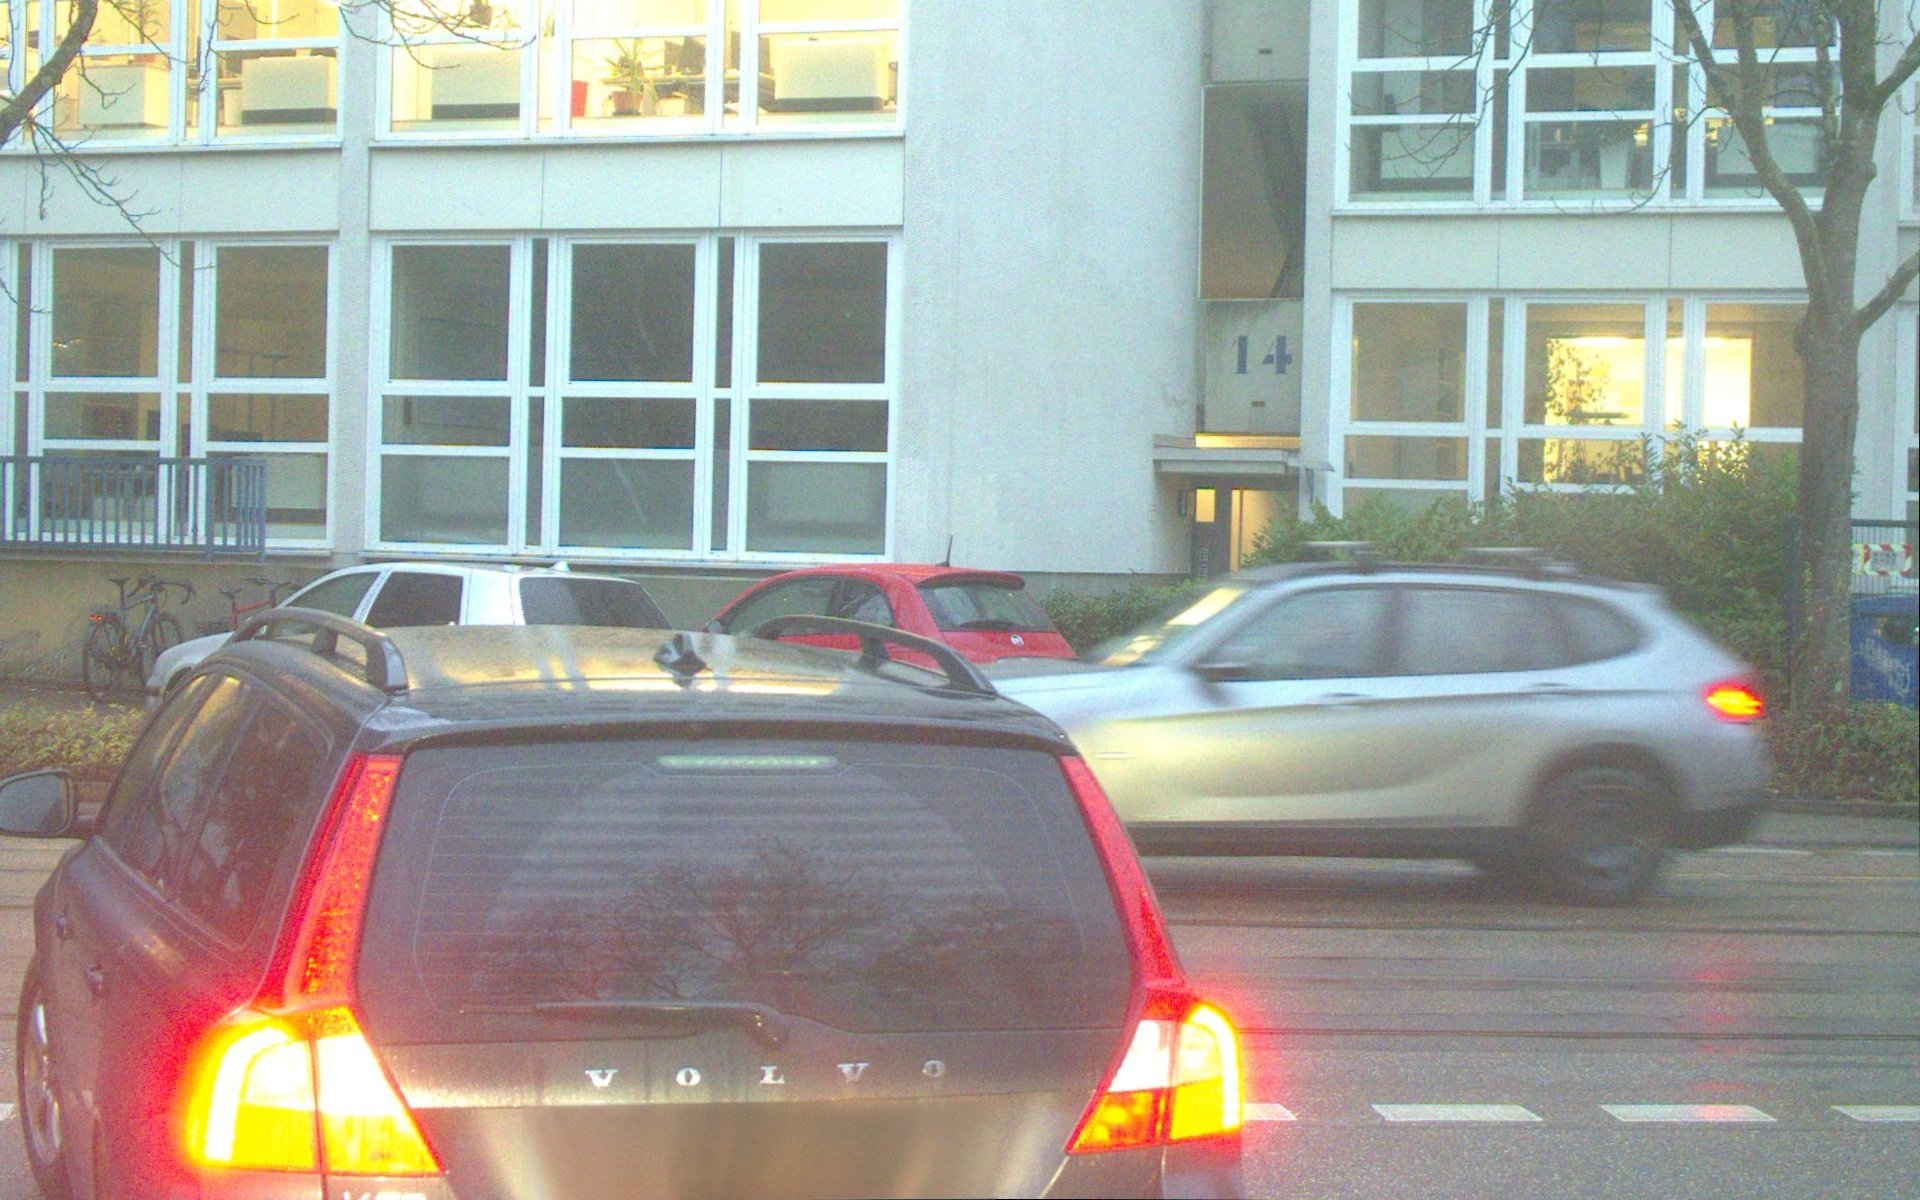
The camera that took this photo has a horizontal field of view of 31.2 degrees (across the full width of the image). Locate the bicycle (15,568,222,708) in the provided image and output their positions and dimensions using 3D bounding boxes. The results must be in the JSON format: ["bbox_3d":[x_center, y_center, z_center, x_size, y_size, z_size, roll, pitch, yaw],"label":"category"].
[{"bbox_3d":[-7.000,0.297,28.719,0.640,1.117,2.204,1,1,17],"label":"bicycle"}]

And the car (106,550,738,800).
[{"bbox_3d":[-3.529,0.426,22.222,3.996,1.441,1.789,1,1,39],"label":"car"}]

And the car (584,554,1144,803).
[{"bbox_3d":[-0.675,0.461,22.672,3.448,1.487,1.725,1,1,43],"label":"car"}]

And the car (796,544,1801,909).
[{"bbox_3d":[1.487,0.561,15.990,4.364,1.573,1.713,1,0,-7],"label":"car"}]

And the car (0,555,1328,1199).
[{"bbox_3d":[-0.981,0.787,6.918,1.747,1.539,4.297,1,3,-19],"label":"car"}]

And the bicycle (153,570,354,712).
[{"bbox_3d":[-5.806,0.318,28.397,0.640,1.117,2.204,1,1,17],"label":"bicycle"}]
